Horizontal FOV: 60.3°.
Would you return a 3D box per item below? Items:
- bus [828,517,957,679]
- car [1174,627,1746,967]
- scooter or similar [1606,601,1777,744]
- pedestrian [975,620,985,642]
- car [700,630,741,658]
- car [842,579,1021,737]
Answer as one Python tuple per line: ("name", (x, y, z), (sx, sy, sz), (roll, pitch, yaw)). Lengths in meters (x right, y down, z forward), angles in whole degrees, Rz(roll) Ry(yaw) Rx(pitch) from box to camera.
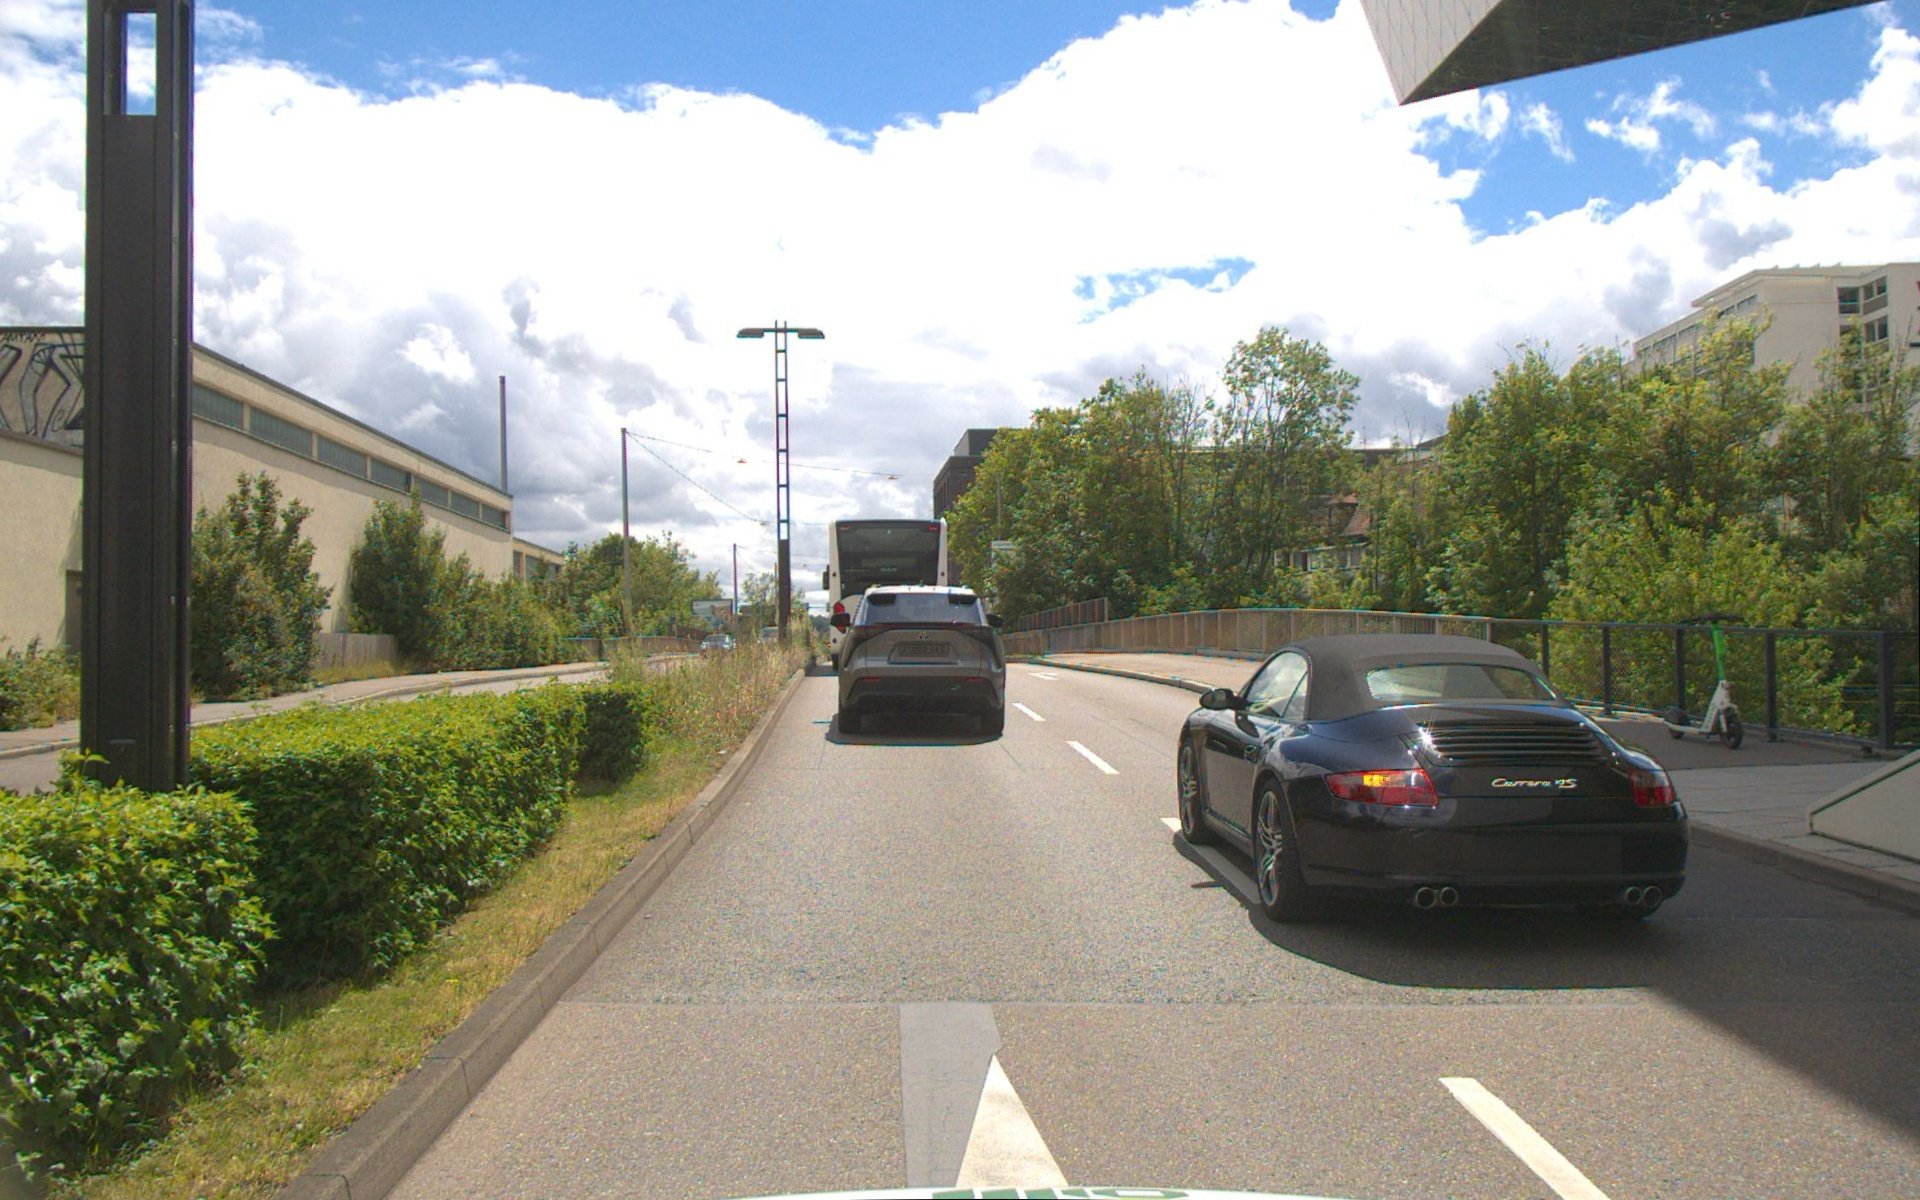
("bus", (-1.647, -0.154, 40.124), (2.635, 3.312, 12.052), (1, 1, -2))
("car", (2.286, 0.826, 8.712), (1.685, 1.297, 4.086), (0, 0, -2))
("scooter or similar", (6.778, 0.638, 15.434), (0.640, 1.235, 1.856), (-2, 0, -4))
("pedestrian", (1.584, 2.449, 131.184), (0.666, 1.726, 0.598), (-2, -2, 21))
("car", (-12.294, 2.233, 85.085), (1.720, 1.298, 3.997), (-3, -1, -4))
("car", (-0.372, 0.606, 19.177), (1.842, 1.622, 4.227), (0, 0, -2))
